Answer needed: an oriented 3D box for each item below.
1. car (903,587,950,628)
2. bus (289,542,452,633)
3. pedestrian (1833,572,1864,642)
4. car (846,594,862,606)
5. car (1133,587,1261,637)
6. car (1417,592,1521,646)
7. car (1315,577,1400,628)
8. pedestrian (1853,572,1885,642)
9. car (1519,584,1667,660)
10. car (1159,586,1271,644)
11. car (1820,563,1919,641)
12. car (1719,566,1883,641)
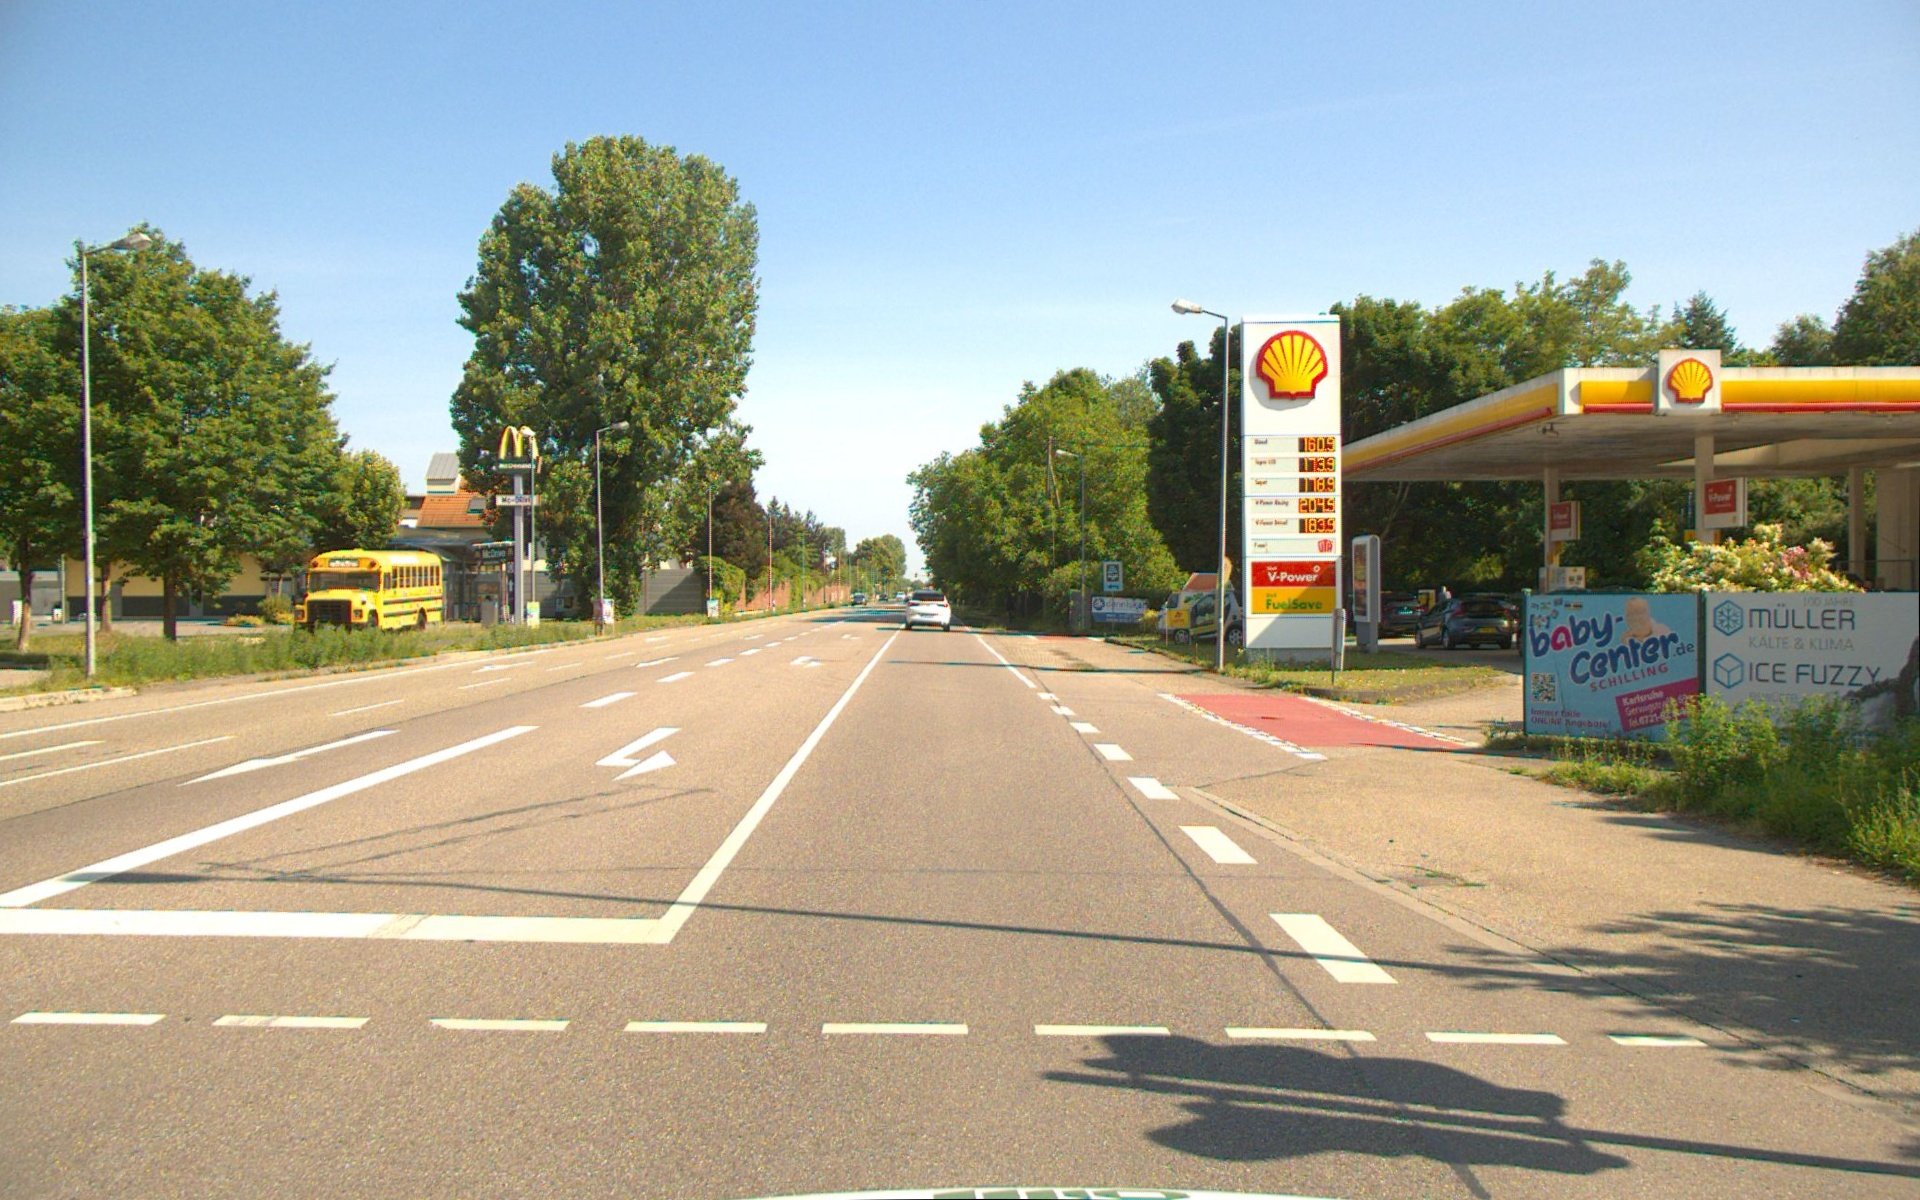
[{"bbox_3d":[-1.355,0.303,67.479,1.809,1.568,4.223,1,0,-1],"label":"car"},{"bbox_3d":[-19.331,-0.359,54.885,2.528,2.726,8.991,1,0,-3],"label":"bus"},{"bbox_3d":[21.243,0.174,39.542,0.489,1.660,0.476,0,0,2],"label":"pedestrian"},{"bbox_3d":[-13.972,0.002,218.606,1.809,1.522,4.910,-2,0,-1],"label":"car"},{"bbox_3d":[7.839,0.397,54.891,3.912,1.557,1.583,1,0,-8],"label":"car"},{"bbox_3d":[13.852,0.494,45.191,1.760,1.384,3.849,-1,0,2],"label":"car"},{"bbox_3d":[14.674,0.105,61.259,1.954,1.796,3.997,1,0,-4],"label":"car"},{"bbox_3d":[21.239,0.165,38.646,0.489,1.621,0.476,0,0,2],"label":"pedestrian"},{"bbox_3d":[14.216,0.463,37.376,1.724,1.606,3.876,-1,0,-3],"label":"car"},{"bbox_3d":[7.105,0.422,46.196,2.684,1.557,1.567,0,-2,43],"label":"car"},{"bbox_3d":[22.369,0.049,39.408,1.789,1.758,4.001,-1,0,3],"label":"car"},{"bbox_3d":[22.514,0.078,44.517,1.814,1.870,4.778,-1,0,-2],"label":"car"}]
